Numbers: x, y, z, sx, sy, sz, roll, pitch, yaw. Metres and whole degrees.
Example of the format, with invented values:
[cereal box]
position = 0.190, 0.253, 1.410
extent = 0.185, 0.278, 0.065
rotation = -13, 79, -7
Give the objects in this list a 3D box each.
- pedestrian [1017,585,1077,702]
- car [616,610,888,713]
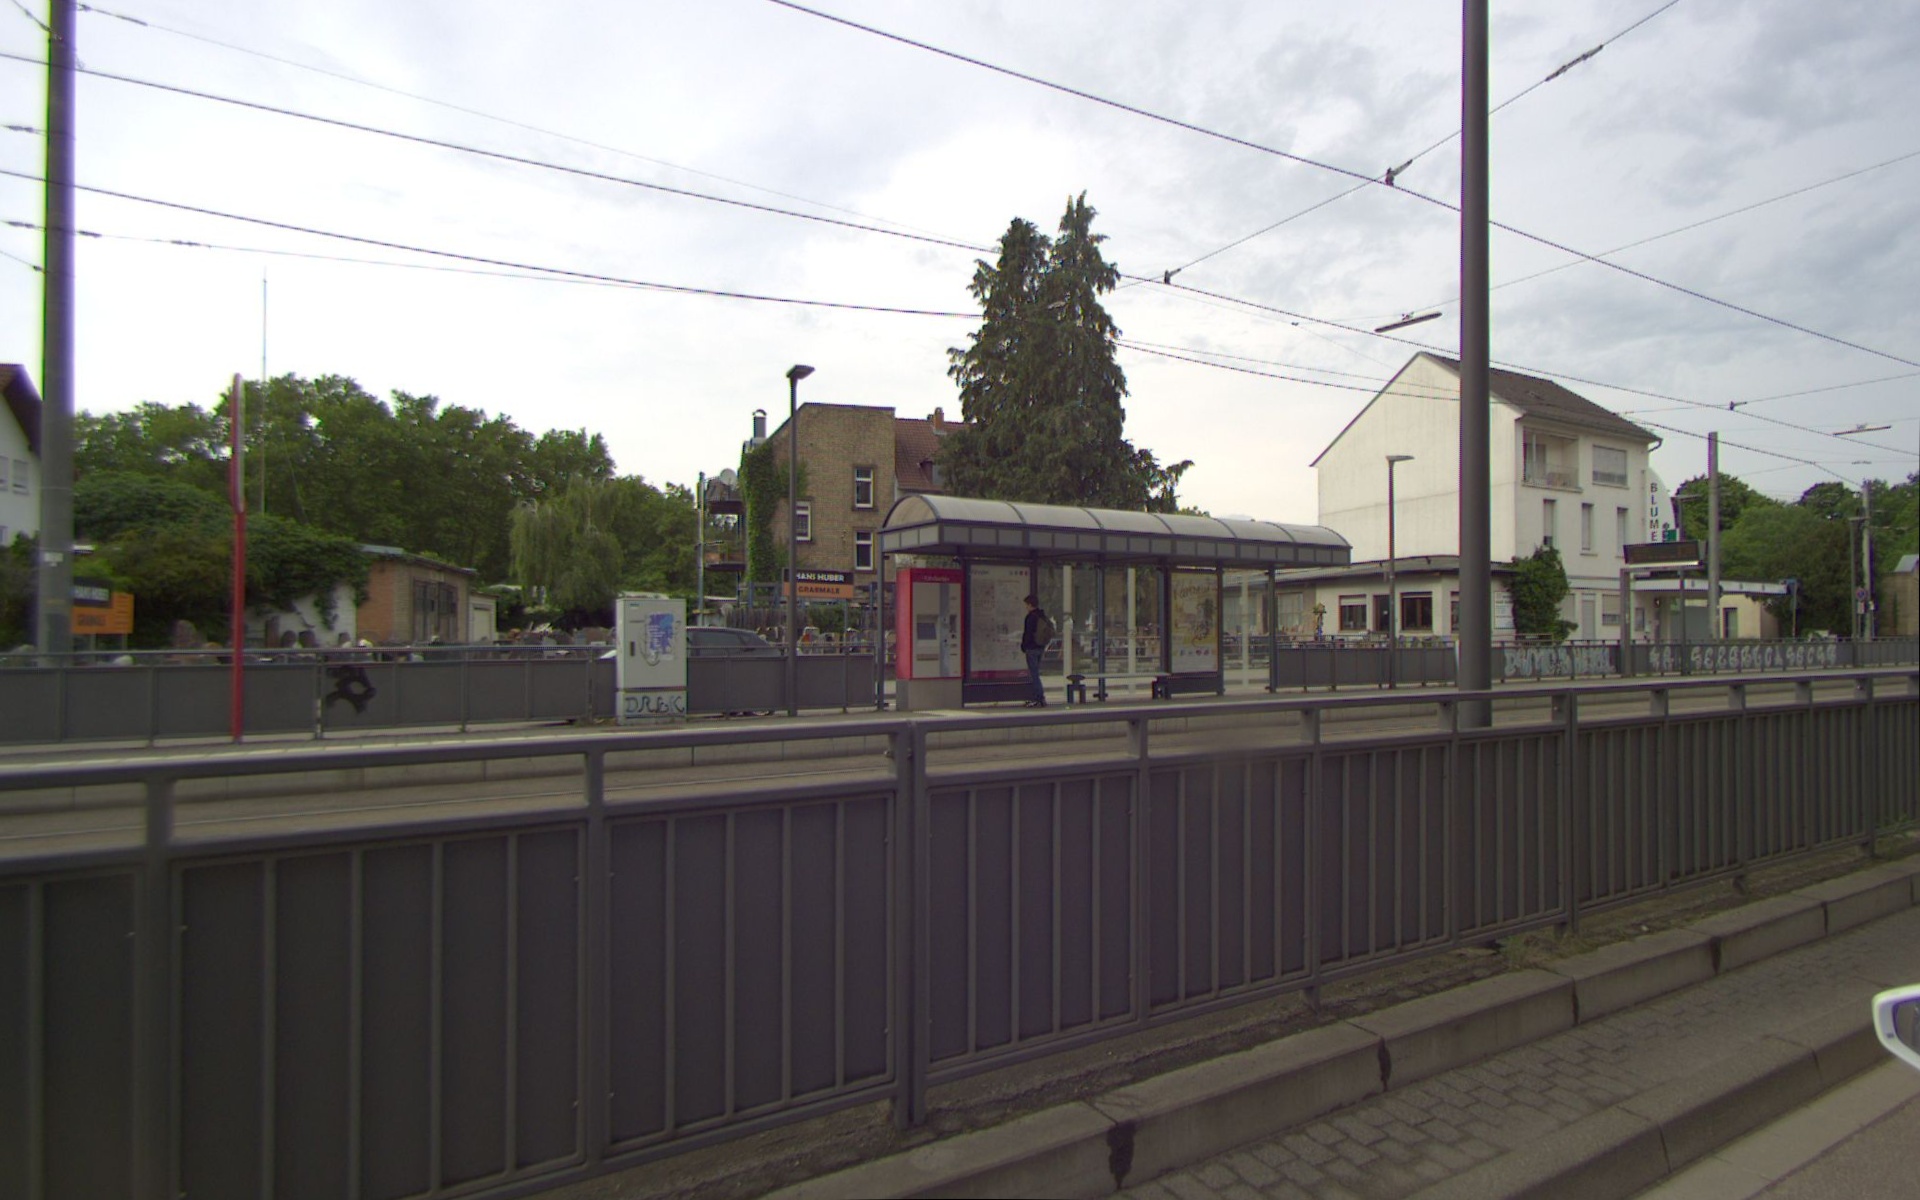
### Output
[pedestrian]
position = 1.289, 0.626, 14.899
extent = 0.684, 1.686, 0.616
rotation = 1, -1, 27
[car]
position = -3.311, 0.961, 16.287
extent = 3.962, 1.470, 1.751
rotation = 2, -3, -36
